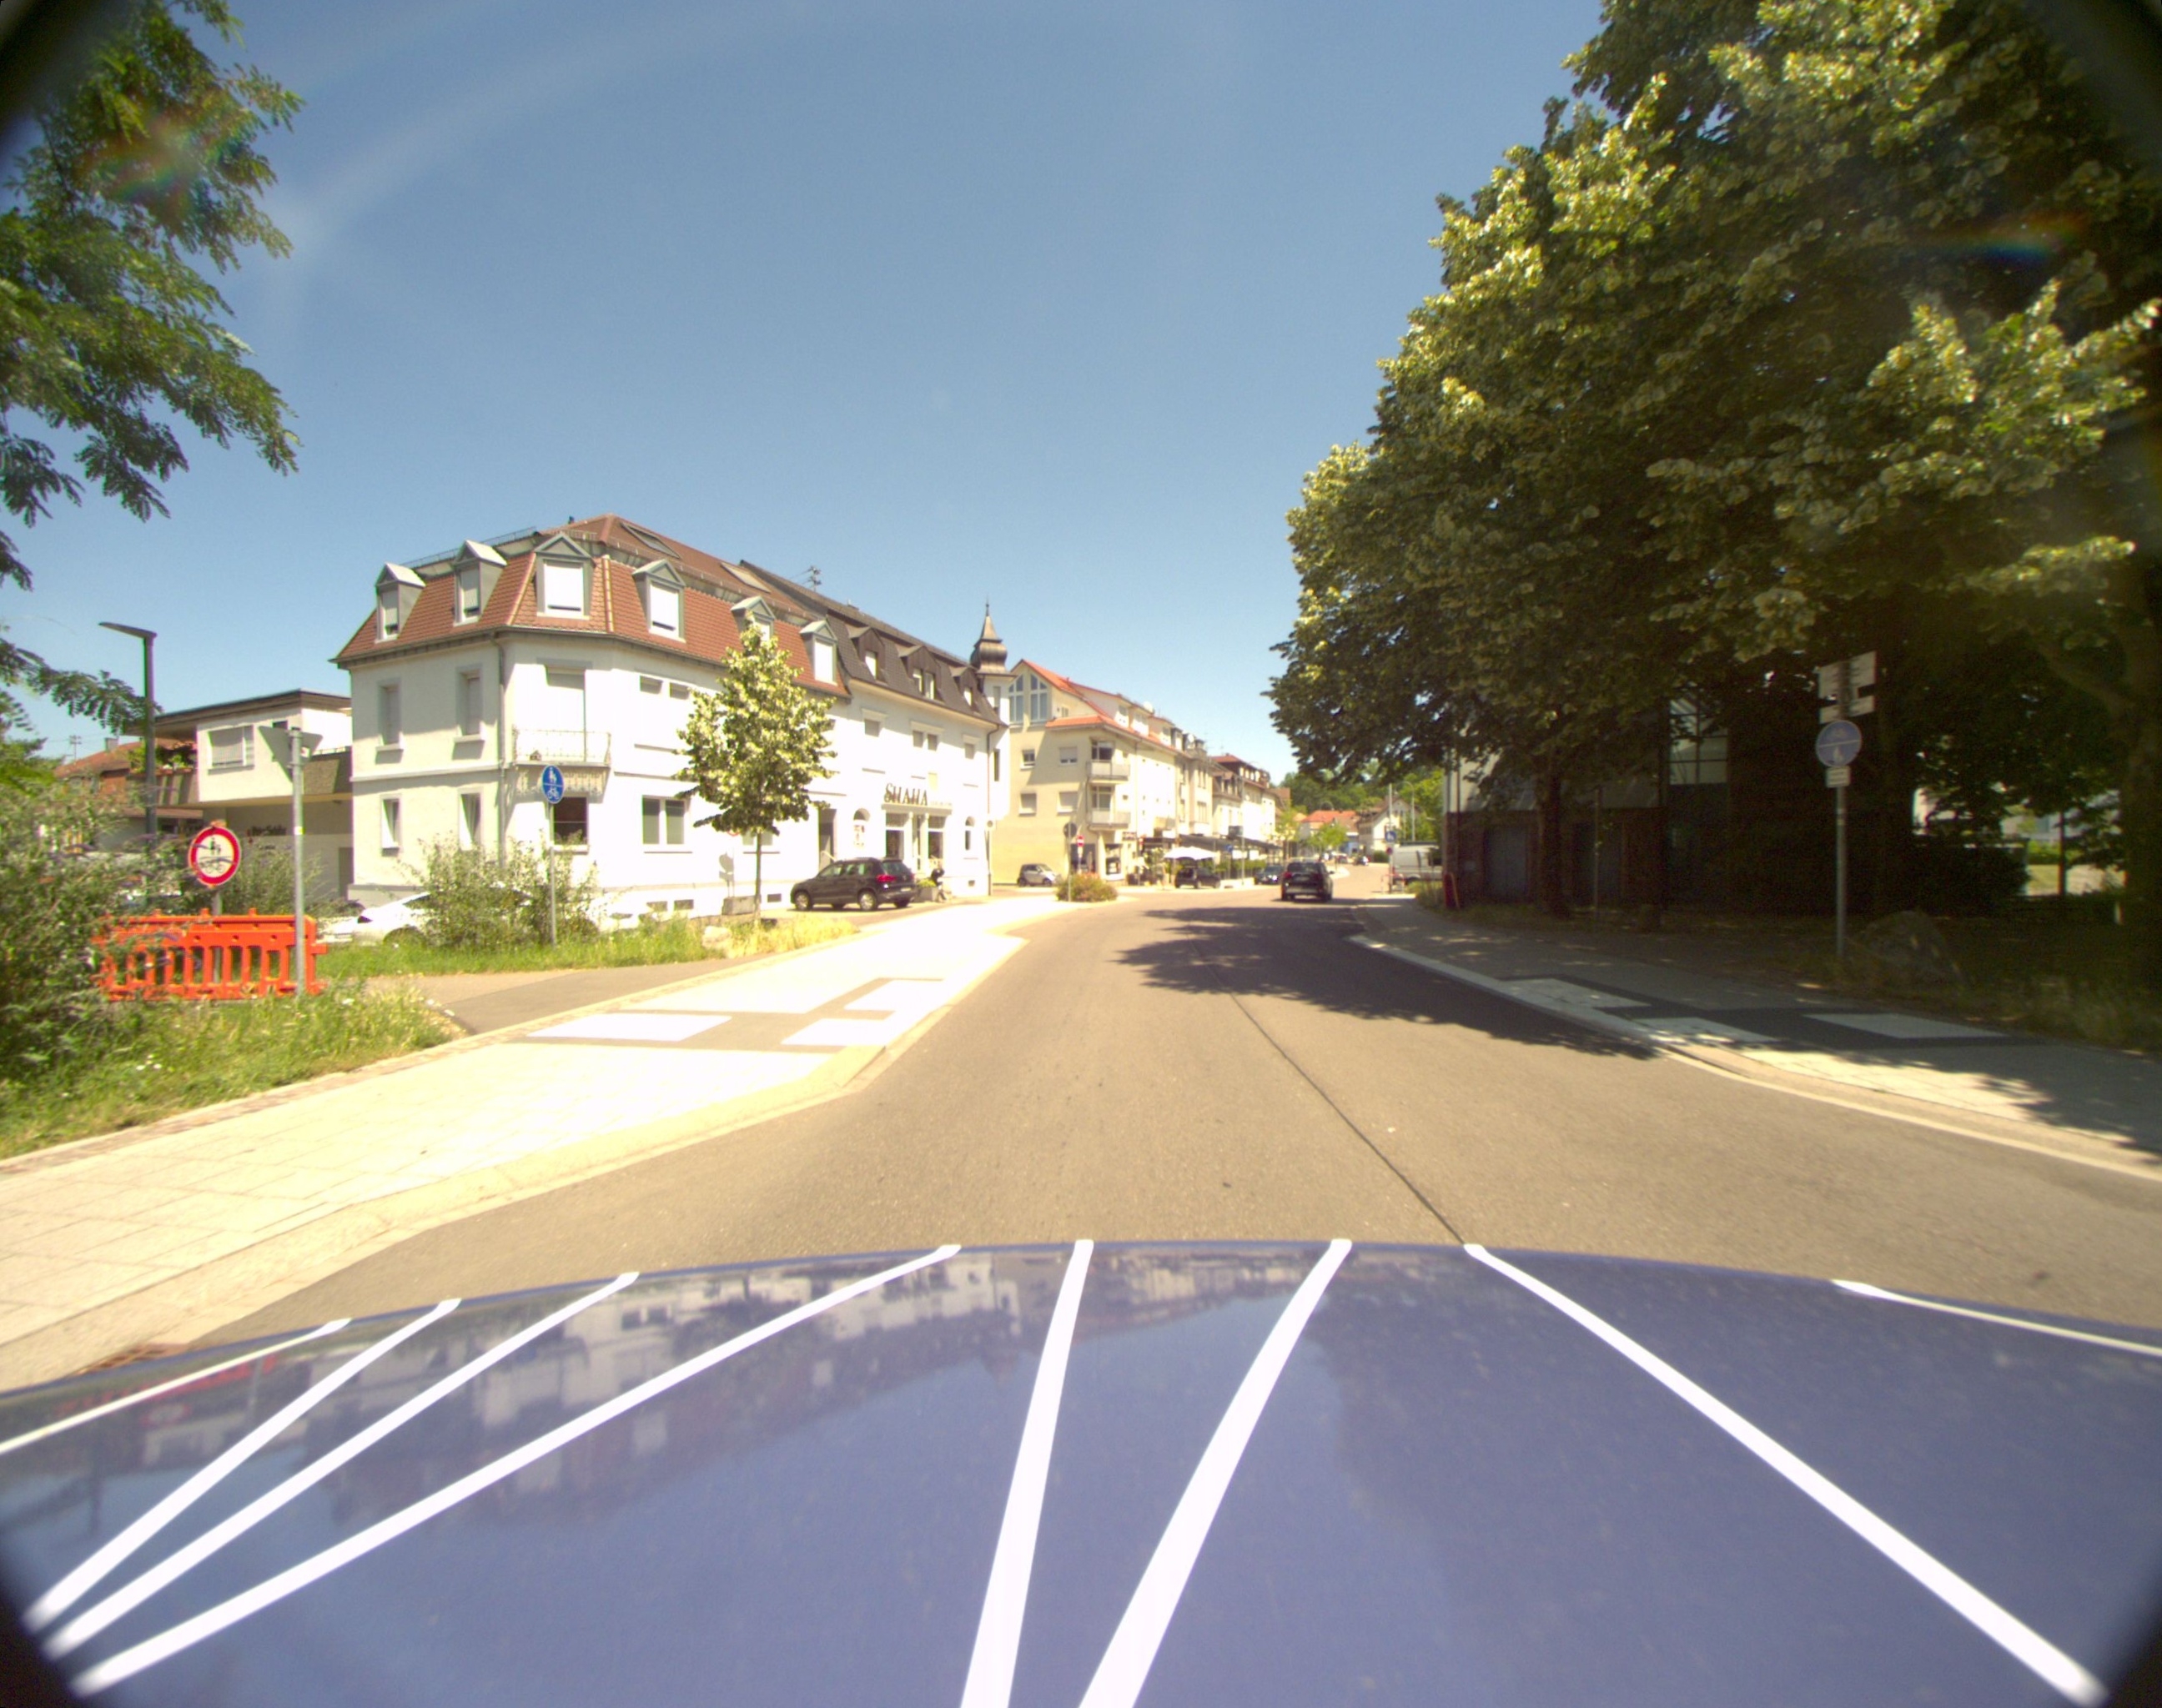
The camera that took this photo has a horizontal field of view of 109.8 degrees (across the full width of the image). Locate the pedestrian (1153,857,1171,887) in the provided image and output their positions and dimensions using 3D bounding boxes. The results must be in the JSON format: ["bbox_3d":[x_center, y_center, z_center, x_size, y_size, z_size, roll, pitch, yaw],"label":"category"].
[{"bbox_3d":[4.904,1.073,45.985,0.746,1.785,0.845,0,-1,33],"label":"pedestrian"}]

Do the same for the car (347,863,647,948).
[{"bbox_3d":[-11.094,1.030,14.798,4.203,1.340,1.861,-2,-7,-11],"label":"car"}]

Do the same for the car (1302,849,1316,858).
[{"bbox_3d":[41.560,-0.125,138.390,1.733,1.464,4.325,2,1,7],"label":"car"}]

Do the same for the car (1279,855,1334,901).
[{"bbox_3d":[9.456,0.950,31.686,1.742,1.762,4.345,1,0,22],"label":"car"}]

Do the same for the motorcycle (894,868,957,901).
[{"bbox_3d":[-6.159,1.193,30.151,2.379,1.268,0.857,-1,0,25],"label":"motorcycle"}]

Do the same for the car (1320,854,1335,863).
[{"bbox_3d":[40.655,0.705,125.167,1.680,1.505,3.393,0,1,29],"label":"car"}]

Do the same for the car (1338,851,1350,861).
[{"bbox_3d":[48.417,0.345,139.894,1.813,1.691,4.080,0,1,15],"label":"car"}]

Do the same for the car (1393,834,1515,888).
[{"bbox_3d":[20.283,0.388,41.485,5.772,2.716,2.295,-2,0,27],"label":"car"}]

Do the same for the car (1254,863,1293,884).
[{"bbox_3d":[14.560,1.448,57.303,1.725,1.397,4.618,1,1,30],"label":"car"}]

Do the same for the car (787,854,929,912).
[{"bbox_3d":[-7.149,0.935,24.336,4.079,1.705,1.859,-2,0,24],"label":"car"}]

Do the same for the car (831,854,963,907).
[{"bbox_3d":[-6.378,0.926,26.346,4.079,1.705,1.859,-2,0,24],"label":"car"}]

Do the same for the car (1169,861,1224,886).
[{"bbox_3d":[7.450,1.210,48.656,1.872,1.483,3.870,1,1,36],"label":"car"}]

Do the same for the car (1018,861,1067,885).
[{"bbox_3d":[-2.524,1.240,49.941,2.729,1.463,1.533,-1,0,25],"label":"car"}]

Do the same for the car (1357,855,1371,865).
[{"bbox_3d":[44.681,0.986,119.847,1.896,1.544,4.806,-2,-1,19],"label":"car"}]
